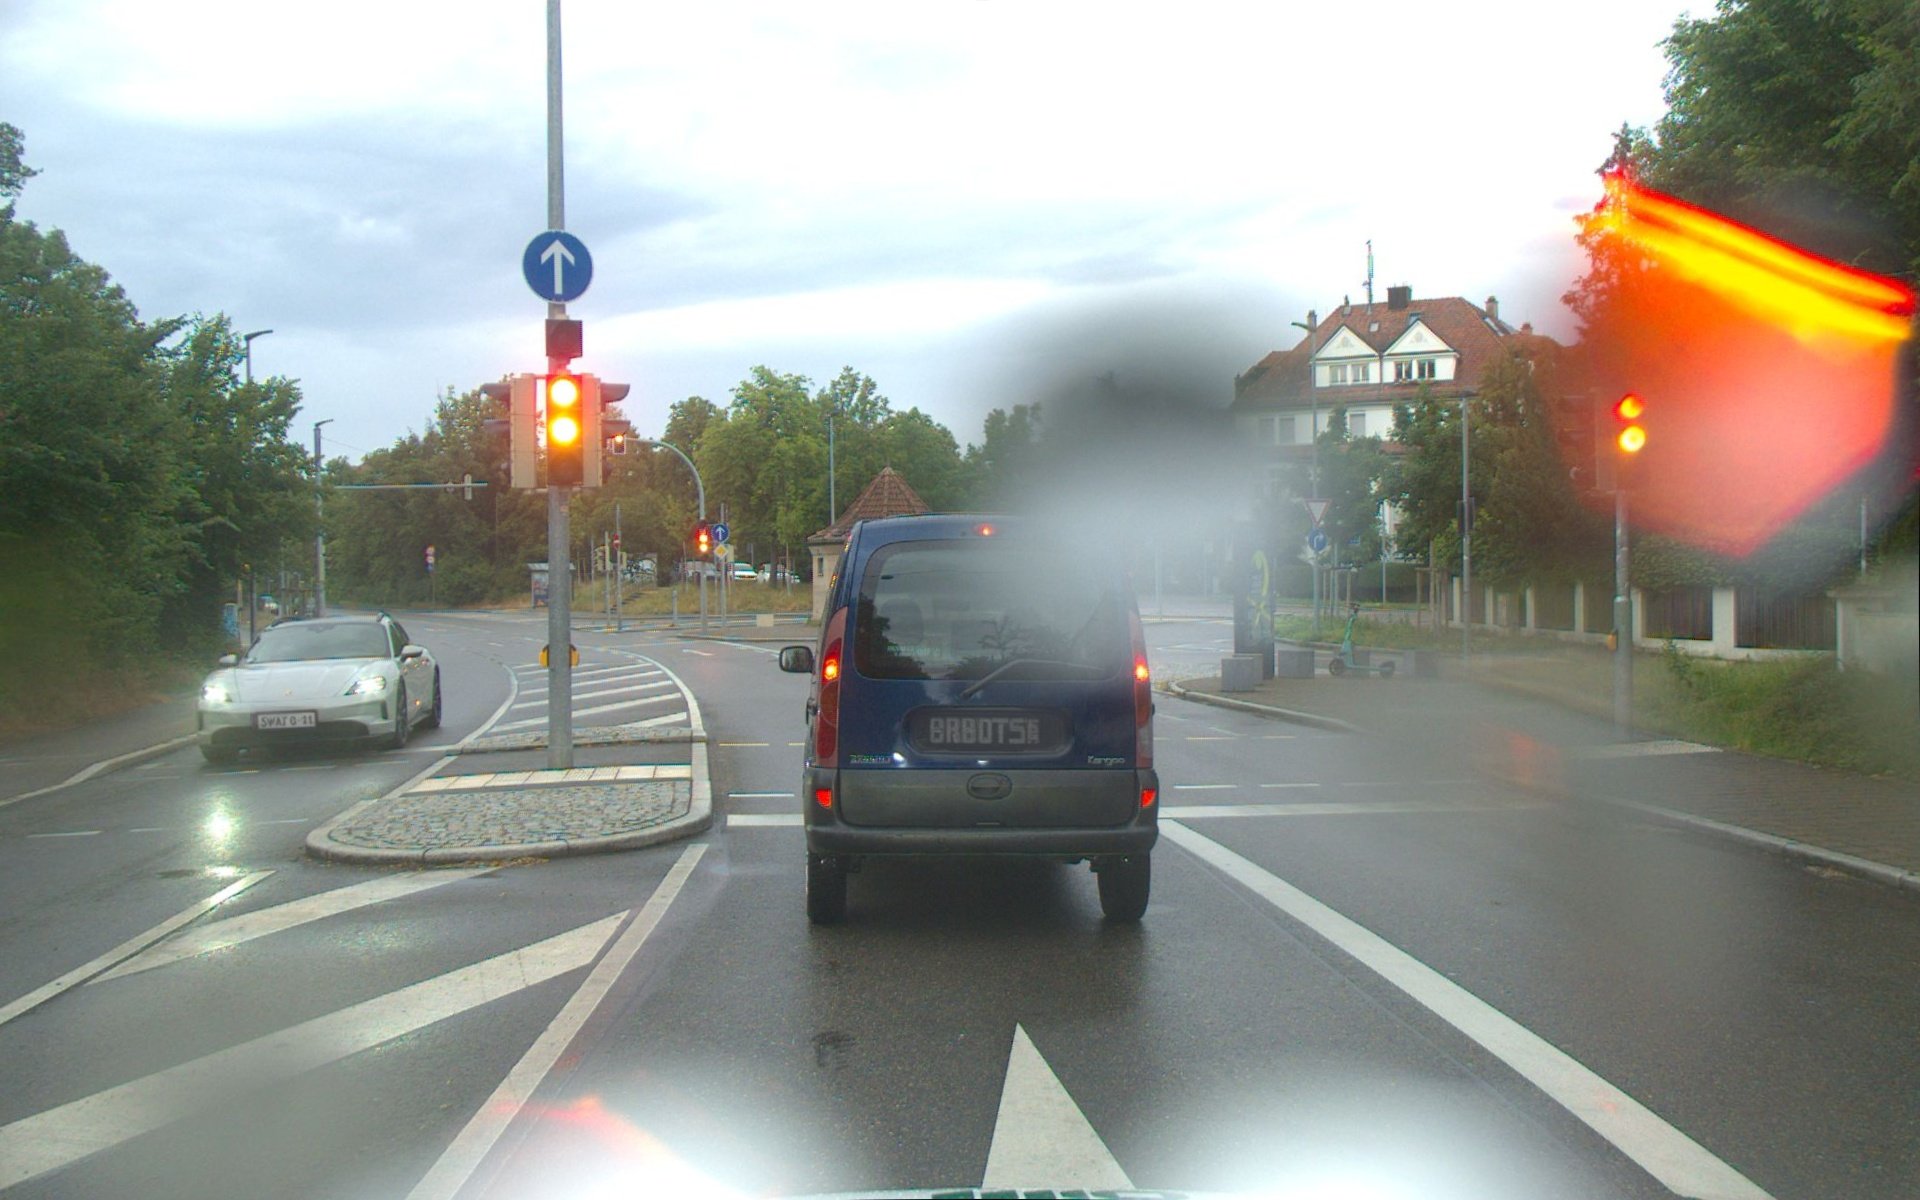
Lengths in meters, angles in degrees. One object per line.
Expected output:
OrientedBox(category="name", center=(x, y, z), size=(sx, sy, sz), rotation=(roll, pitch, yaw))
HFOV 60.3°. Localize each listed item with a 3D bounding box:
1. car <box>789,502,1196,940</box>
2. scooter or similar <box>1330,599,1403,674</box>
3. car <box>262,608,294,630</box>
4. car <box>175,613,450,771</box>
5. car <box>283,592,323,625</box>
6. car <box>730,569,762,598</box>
OrientedBox(category="car", center=(0.050, 0.486, 8.896), size=(1.697, 1.817, 3.998), rotation=(0, 0, -3))
OrientedBox(category="scooter or similar", center=(6.840, 0.612, 27.857), size=(1.125, 1.240, 0.405), rotation=(-1, -1, -2))
OrientedBox(category="car", center=(-50.498, 1.414, 122.512), size=(1.964, 1.613, 3.976), rotation=(0, -1, -20))
OrientedBox(category="car", center=(-6.922, 0.900, 18.179), size=(1.958, 1.334, 4.348), rotation=(-3, 1, -11))
OrientedBox(category="car", center=(-40.734, 0.539, 102.487), size=(1.969, 2.049, 3.966), rotation=(0, -1, -26))
OrientedBox(category="car", center=(-14.155, -1.099, 109.647), size=(1.955, 1.844, 3.996), rotation=(0, -1, -5))
